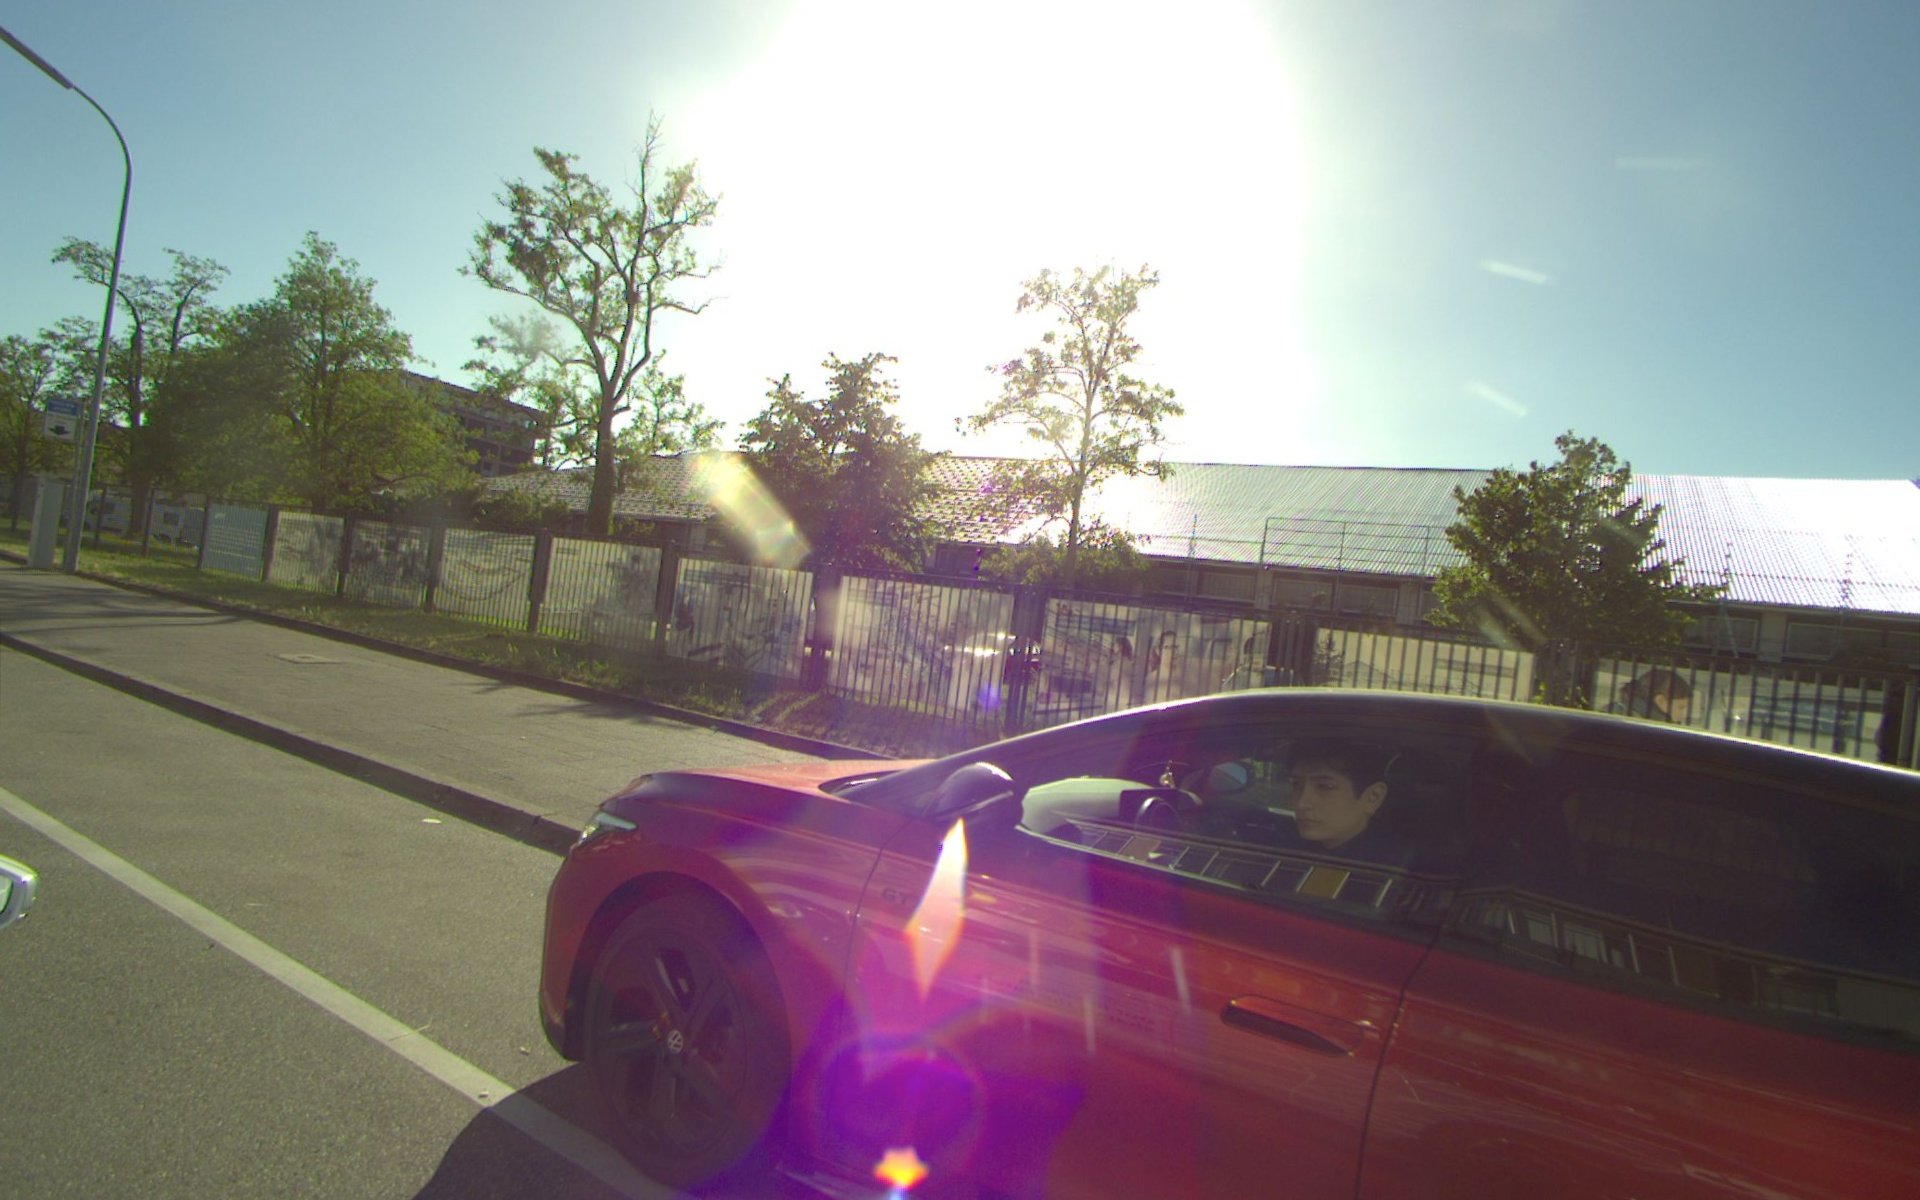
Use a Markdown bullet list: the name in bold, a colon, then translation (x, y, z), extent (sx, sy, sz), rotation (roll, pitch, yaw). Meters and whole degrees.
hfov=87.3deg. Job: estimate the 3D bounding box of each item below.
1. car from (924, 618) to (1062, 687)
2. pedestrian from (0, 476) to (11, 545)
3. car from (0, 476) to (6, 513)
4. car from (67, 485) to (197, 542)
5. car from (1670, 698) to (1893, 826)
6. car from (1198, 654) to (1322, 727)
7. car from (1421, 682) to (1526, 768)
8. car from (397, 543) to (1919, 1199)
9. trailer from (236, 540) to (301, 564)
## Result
- **car**: translation (0.963, 1.409, 26.185), extent (1.797, 1.265, 4.156), rotation (7, -3, 29)
- **pedestrian**: translation (-17.718, -1.483, 18.064), extent (0.531, 1.629, 0.683), rotation (7, -2, 29)
- **car**: translation (-12.505, -0.778, 10.892), extent (4.625, 1.741, 1.814), rotation (7, -2, 31)
- **car**: translation (-47.634, -4.942, 57.985), extent (1.969, 2.228, 5.287), rotation (8, -1, 37)
- **car**: translation (14.763, 2.809, 18.413), extent (1.965, 1.688, 4.641), rotation (7, -1, 26)
- **car**: translation (7.090, 2.164, 23.502), extent (1.847, 1.265, 4.156), rotation (7, -3, 29)
- **car**: translation (10.826, 2.570, 21.192), extent (1.646, 1.396, 3.898), rotation (7, -1, 28)
- **car**: translation (0.809, 0.934, 2.685), extent (4.642, 1.527, 1.814), rotation (7, -3, 31)
- **trailer**: translation (-41.702, -2.913, 60.590), extent (5.036, 0.930, 1.897), rotation (7, -2, 40)
